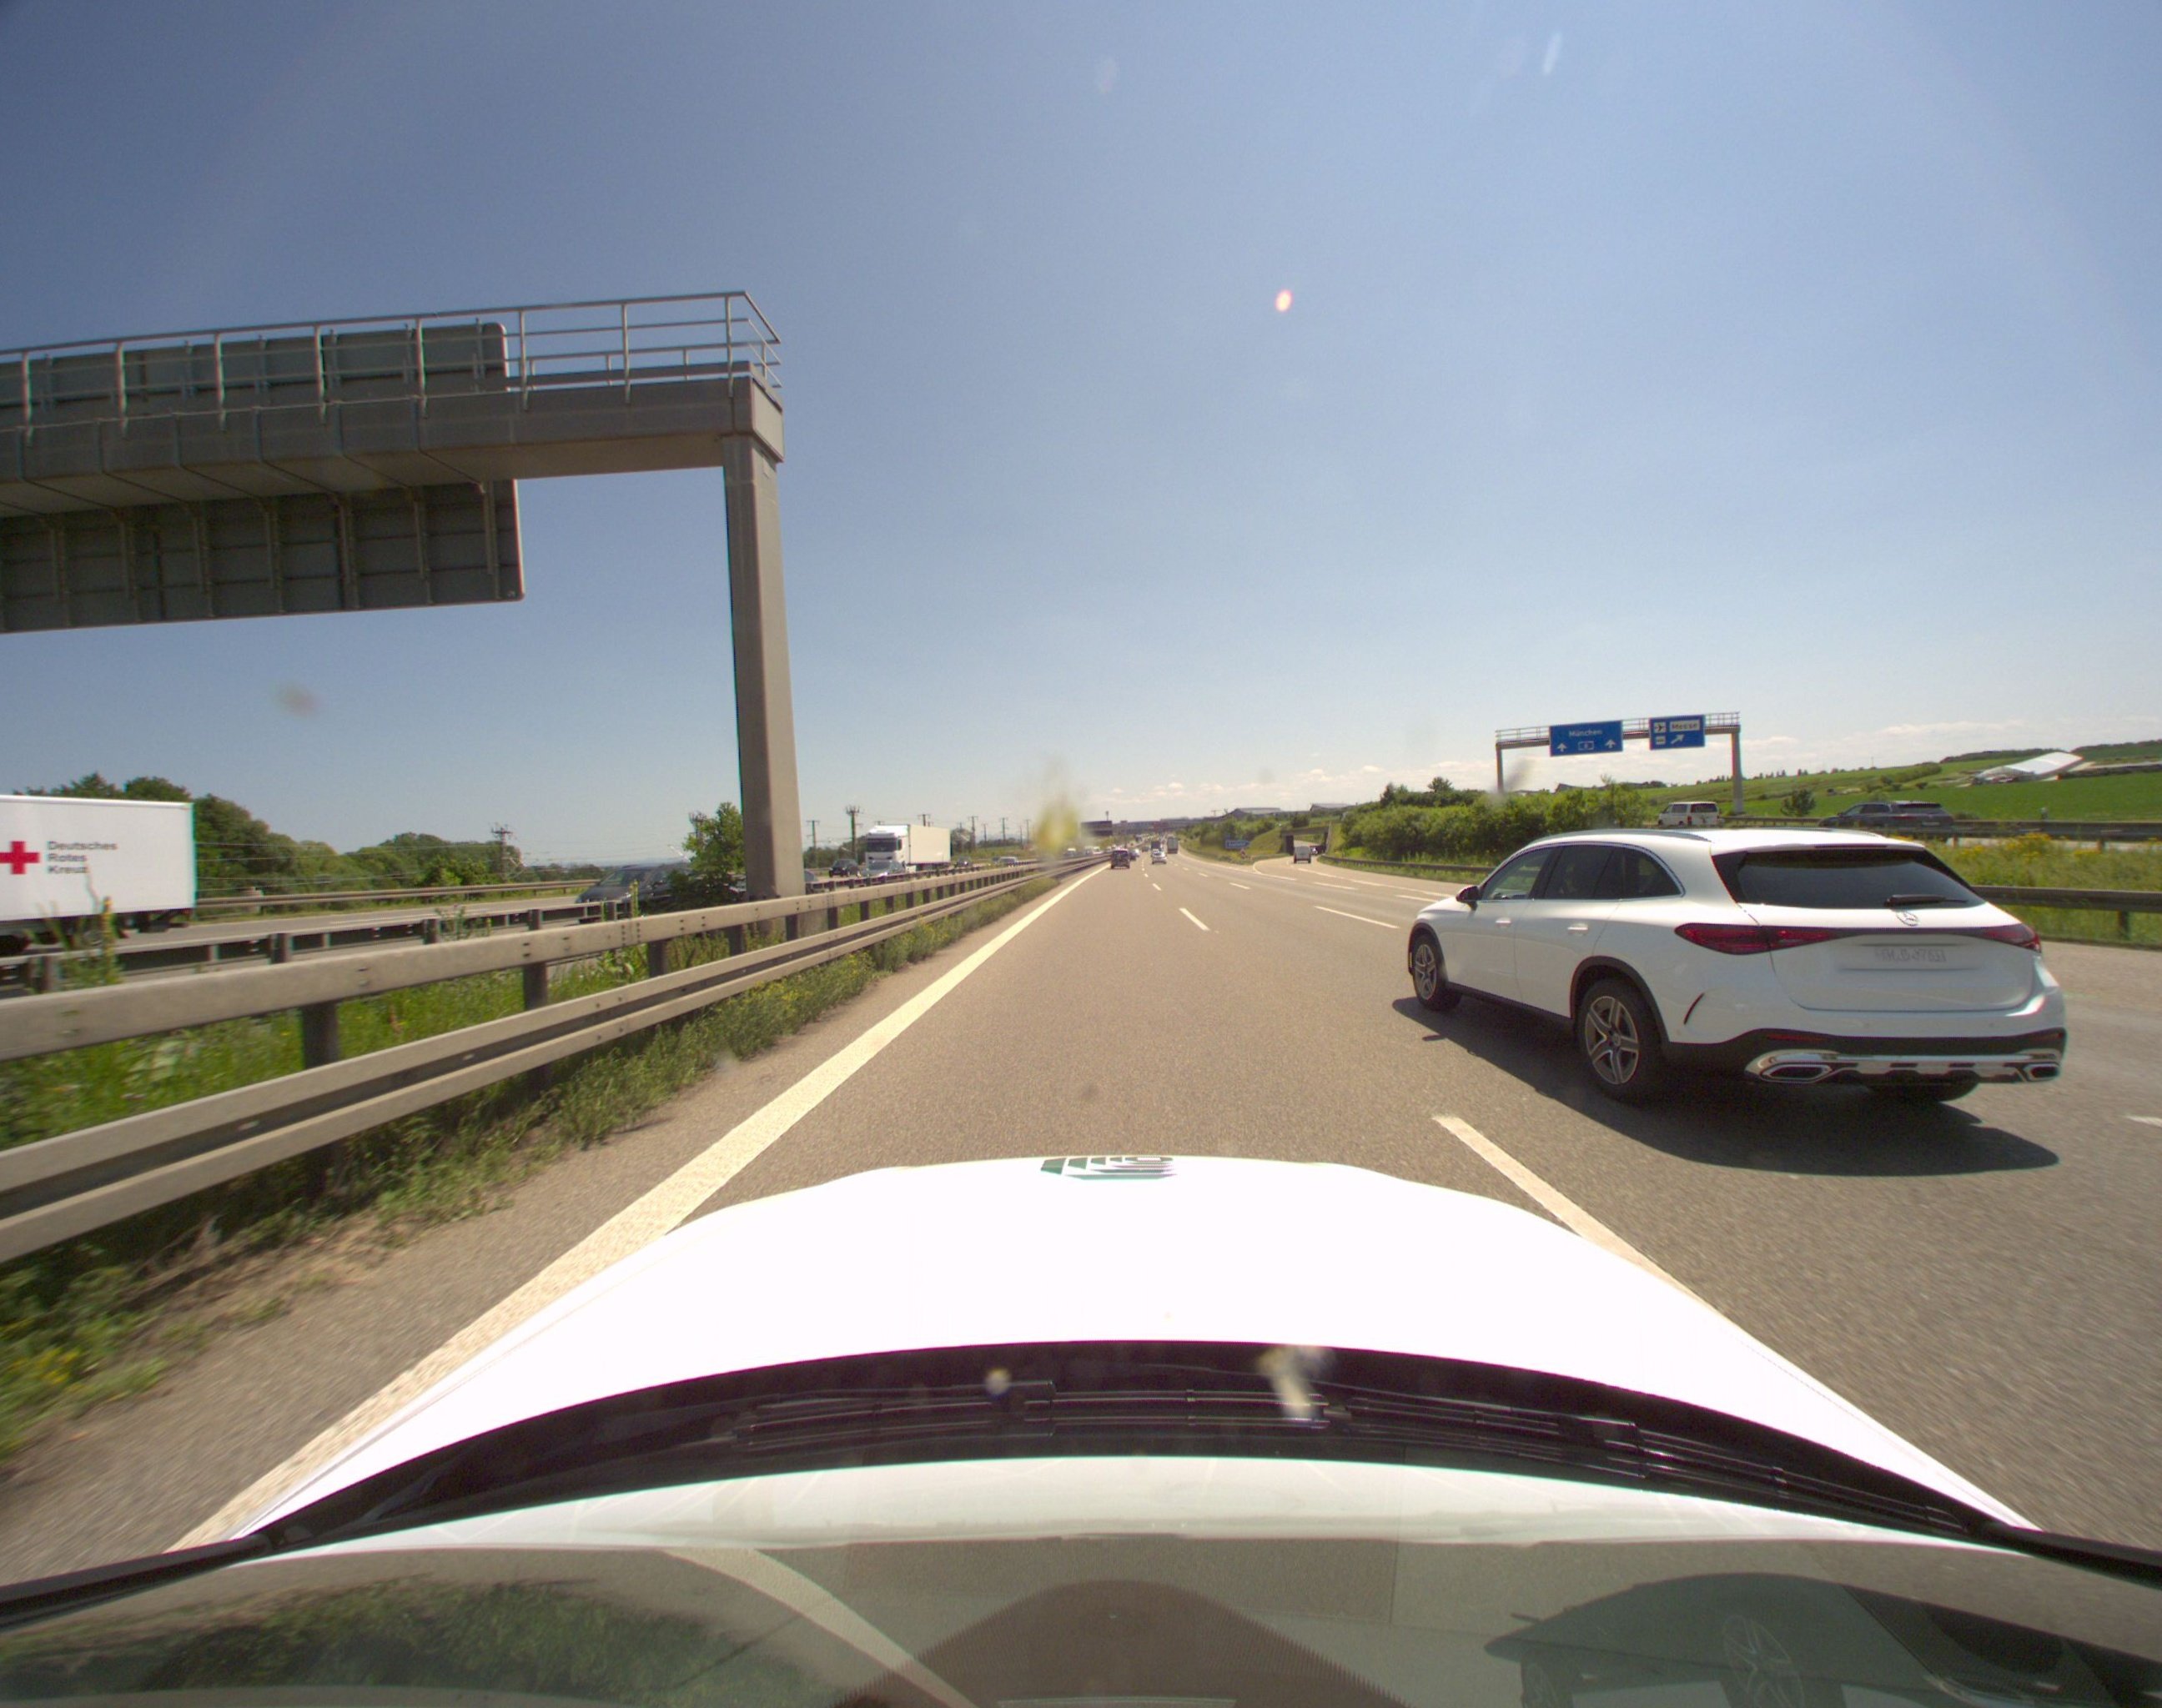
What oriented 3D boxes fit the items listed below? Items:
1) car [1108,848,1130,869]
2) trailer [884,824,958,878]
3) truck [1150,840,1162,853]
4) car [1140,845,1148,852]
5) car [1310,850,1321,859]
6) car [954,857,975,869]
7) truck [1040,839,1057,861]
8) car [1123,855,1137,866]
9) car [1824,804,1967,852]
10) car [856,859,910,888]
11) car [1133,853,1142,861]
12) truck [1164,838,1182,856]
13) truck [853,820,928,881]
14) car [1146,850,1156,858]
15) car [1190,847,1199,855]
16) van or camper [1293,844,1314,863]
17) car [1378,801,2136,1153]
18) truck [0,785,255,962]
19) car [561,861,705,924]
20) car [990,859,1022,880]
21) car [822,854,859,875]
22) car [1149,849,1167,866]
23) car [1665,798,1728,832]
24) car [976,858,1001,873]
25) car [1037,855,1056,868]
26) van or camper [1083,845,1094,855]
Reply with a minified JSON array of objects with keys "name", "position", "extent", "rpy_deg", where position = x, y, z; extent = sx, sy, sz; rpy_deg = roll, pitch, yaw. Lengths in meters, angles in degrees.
[{"name":"car","position":[3.658,0.451,76.835],"extent":[1.918,1.919,4.953],"rpy_deg":[-1,-1,4]},{"name":"trailer","position":[-13.504,-0.165,69.945],"extent":[3.207,4.193,11.423],"rpy_deg":[-1,-1,5]},{"name":"truck","position":[19.446,-1.898,211.631],"extent":[2.690,3.109,10.671],"rpy_deg":[-1,-1,4]},{"name":"car","position":[19.346,-1.617,250.770],"extent":[2.177,2.002,4.004],"rpy_deg":[-1,2,3]},{"name":"car","position":[47.205,0.181,163.853],"extent":[1.977,1.750,4.018],"rpy_deg":[-1,-1,18]},{"name":"car","position":[-14.693,1.154,103.067],"extent":[1.689,1.425,4.459],"rpy_deg":[-1,0,3]},{"name":"truck","position":[-6.643,-0.851,165.899],"extent":[2.748,4.245,6.981],"rpy_deg":[-1,-1,2]},{"name":"car","position":[7.472,0.974,124.217],"extent":[1.917,1.627,4.525],"rpy_deg":[-1,-1,6]},{"name":"car","position":[30.587,-0.912,30.773],"extent":[1.689,1.575,4.138],"rpy_deg":[-1,-1,9]},{"name":"car","position":[-11.445,1.100,47.424],"extent":[1.736,1.508,5.104],"rpy_deg":[-1,0,2]},{"name":"car","position":[11.229,0.619,161.181],"extent":[1.568,1.552,3.969],"rpy_deg":[-1,-1,5]},{"name":"truck","position":[23.245,-1.875,206.948],"extent":[4.021,4.261,11.773],"rpy_deg":[-1,2,4]},{"name":"truck","position":[-14.212,-0.232,61.496],"extent":[3.233,4.209,7.703],"rpy_deg":[-1,0,5]},{"name":"car","position":[13.852,-0.017,160.690],"extent":[1.973,1.473,4.005],"rpy_deg":[-2,-1,4]},{"name":"car","position":[30.035,-0.868,215.542],"extent":[1.919,1.918,4.521],"rpy_deg":[-1,1,2]},{"name":"van or camper","position":[25.037,-0.043,91.850],"extent":[2.141,2.014,4.320],"rpy_deg":[-1,-1,14]},{"name":"car","position":[4.119,0.631,6.382],"extent":[1.891,1.647,5.000],"rpy_deg":[-1,-1,2]},{"name":"truck","position":[-20.419,0.368,14.793],"extent":[2.311,3.167,8.117],"rpy_deg":[-1,0,2]},{"name":"car","position":[-12.492,1.006,23.035],"extent":[1.736,1.561,4.002],"rpy_deg":[-1,0,2]},{"name":"car","position":[-6.066,1.238,66.589],"extent":[1.723,1.588,5.361],"rpy_deg":[-1,0,4]},{"name":"car","position":[-20.750,0.887,70.380],"extent":[1.797,1.749,4.004],"rpy_deg":[-1,-1,4]},{"name":"car","position":[9.191,0.462,97.847],"extent":[1.919,1.919,4.520],"rpy_deg":[-1,-1,2]},{"name":"car","position":[40.097,-2.498,53.192],"extent":[1.924,1.923,4.197],"rpy_deg":[-1,-1,17]},{"name":"car","position":[-9.901,1.183,87.429],"extent":[1.834,1.460,5.001],"rpy_deg":[-1,0,3]},{"name":"car","position":[-4.073,0.828,96.969],"extent":[1.834,1.460,5.001],"rpy_deg":[-1,0,3]},{"name":"van or camper","position":[2.289,-1.130,239.450],"extent":[2.505,2.665,8.074],"rpy_deg":[-1,0,4]}]
